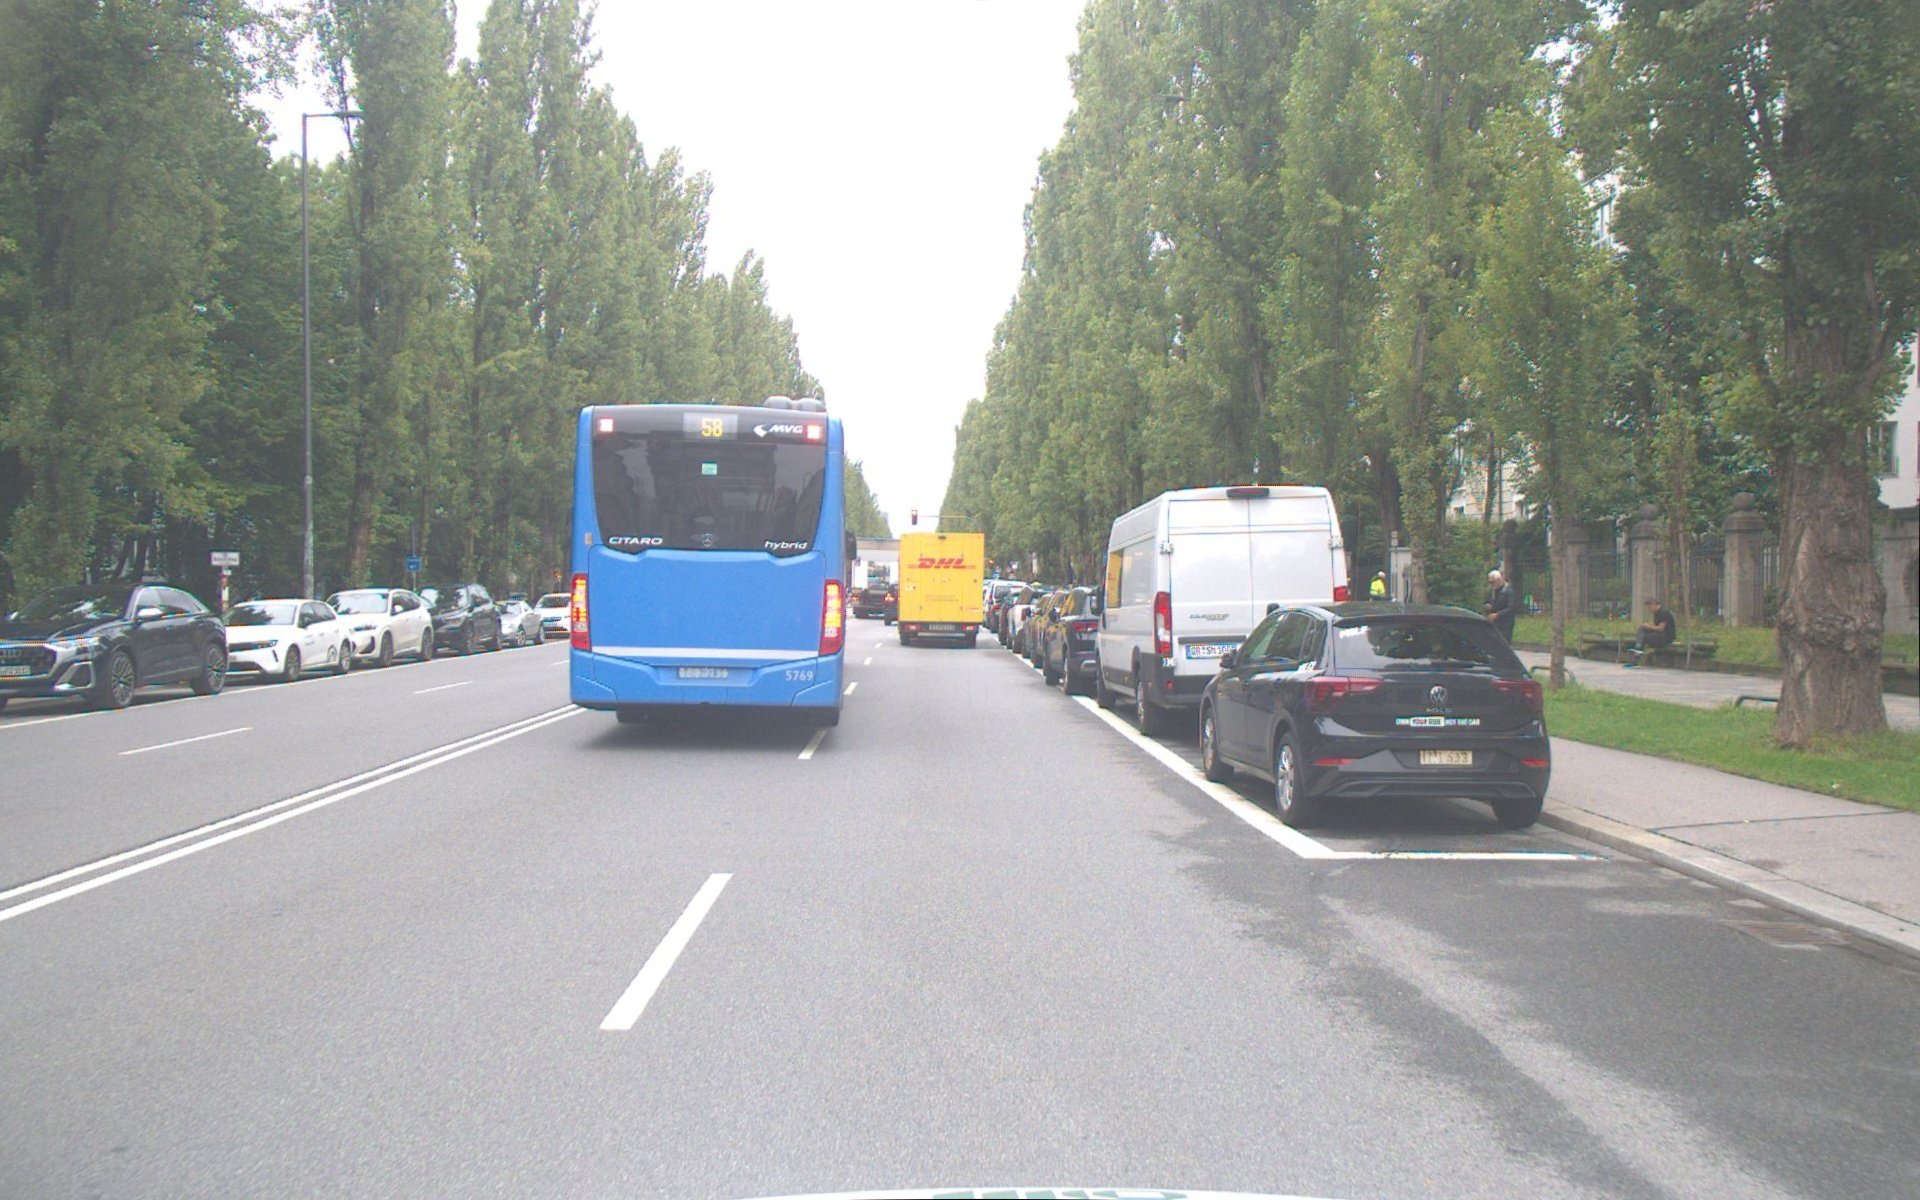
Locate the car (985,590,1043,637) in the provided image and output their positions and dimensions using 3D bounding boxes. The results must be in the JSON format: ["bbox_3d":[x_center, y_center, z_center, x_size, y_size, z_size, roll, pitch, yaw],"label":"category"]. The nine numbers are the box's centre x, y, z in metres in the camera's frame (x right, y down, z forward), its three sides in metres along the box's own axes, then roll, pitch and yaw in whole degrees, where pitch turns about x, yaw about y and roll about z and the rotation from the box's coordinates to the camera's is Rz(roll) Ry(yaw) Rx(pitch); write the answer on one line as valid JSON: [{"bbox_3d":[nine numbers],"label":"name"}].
[{"bbox_3d":[1.829,0.438,57.274,1.825,1.579,3.999,0,0,-1],"label":"car"}]

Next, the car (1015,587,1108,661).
[{"bbox_3d":[2.145,0.486,35.897,1.600,1.471,4.147,2,0,-2],"label":"car"}]

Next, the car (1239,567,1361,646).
[{"bbox_3d":[8.908,0.149,43.846,1.953,1.959,5.322,0,0,-2],"label":"car"}]

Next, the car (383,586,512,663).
[{"bbox_3d":[-12.627,0.552,41.056,1.842,1.687,4.716,-3,1,-3],"label":"car"}]

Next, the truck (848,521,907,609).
[{"bbox_3d":[-4.054,-1.634,80.497,2.662,4.034,9.211,0,0,-4],"label":"truck"}]

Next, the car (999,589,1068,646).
[{"bbox_3d":[2.002,0.465,46.157,1.690,1.521,4.323,0,0,-1],"label":"car"}]

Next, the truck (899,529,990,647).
[{"bbox_3d":[-0.506,-0.323,45.025,2.281,2.949,7.330,0,0,-2],"label":"truck"}]

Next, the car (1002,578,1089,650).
[{"bbox_3d":[2.029,0.320,40.364,1.745,1.609,4.145,2,0,-2],"label":"car"}]

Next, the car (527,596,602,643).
[{"bbox_3d":[-13.220,0.626,55.516,1.651,1.437,4.002,-2,0,-2],"label":"car"}]

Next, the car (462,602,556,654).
[{"bbox_3d":[-12.722,0.757,46.838,1.548,1.327,4.028,-2,0,-1],"label":"car"}]

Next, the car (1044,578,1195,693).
[{"bbox_3d":[2.363,0.498,25.546,1.784,1.618,4.221,1,0,-2],"label":"car"}]

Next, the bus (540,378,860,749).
[{"bbox_3d":[-2.595,-0.345,19.197,2.799,3.270,9.053,0,0,-4],"label":"bus"}]

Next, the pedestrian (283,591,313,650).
[{"bbox_3d":[-20.828,0.646,52.065,0.627,1.847,0.775,0,0,-2],"label":"pedestrian"}]

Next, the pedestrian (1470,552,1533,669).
[{"bbox_3d":[8.813,0.165,26.934,0.643,1.871,0.782,0,0,-15],"label":"pedestrian"}]

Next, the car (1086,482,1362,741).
[{"bbox_3d":[2.843,0.096,19.436,2.032,2.522,6.281,1,0,-2],"label":"car"}]

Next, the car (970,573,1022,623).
[{"bbox_3d":[1.501,-0.097,70.709,2.011,2.049,5.691,0,1,-1],"label":"car"}]

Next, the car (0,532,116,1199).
[{"bbox_3d":[-2.644,0.606,1.168,1.788,1.480,4.581,1,0,-1],"label":"car"}]

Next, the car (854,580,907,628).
[{"bbox_3d":[-3.164,0.126,66.480,1.994,1.833,4.506,0,1,-1],"label":"car"}]

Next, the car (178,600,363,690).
[{"bbox_3d":[-12.385,0.754,30.003,1.642,1.447,4.236,-2,0,-2],"label":"car"}]

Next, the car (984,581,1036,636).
[{"bbox_3d":[1.870,0.317,62.790,1.769,2.011,4.235,0,0,-1],"label":"car"}]

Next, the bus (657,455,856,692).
[{"bbox_3d":[-3.200,-0.397,28.414,2.815,3.361,9.782,0,0,-4],"label":"bus"}]

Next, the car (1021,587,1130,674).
[{"bbox_3d":[2.122,0.535,31.365,1.618,1.530,4.112,1,0,-2],"label":"car"}]

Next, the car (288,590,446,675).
[{"bbox_3d":[-12.543,0.633,35.291,1.749,1.616,4.460,-2,1,-1],"label":"car"}]

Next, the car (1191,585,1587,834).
[{"bbox_3d":[2.921,0.661,12.169,1.719,1.475,3.999,2,0,-2],"label":"car"}]

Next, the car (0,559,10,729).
[{"bbox_3d":[-12.159,0.567,17.037,1.953,1.990,4.935,-2,1,-2],"label":"car"}]

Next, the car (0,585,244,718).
[{"bbox_3d":[-12.070,0.661,23.373,1.779,1.637,5.051,-3,0,-2],"label":"car"}]

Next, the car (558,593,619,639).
[{"bbox_3d":[-13.438,0.569,60.037,1.710,1.545,4.112,-2,0,-7],"label":"car"}]
